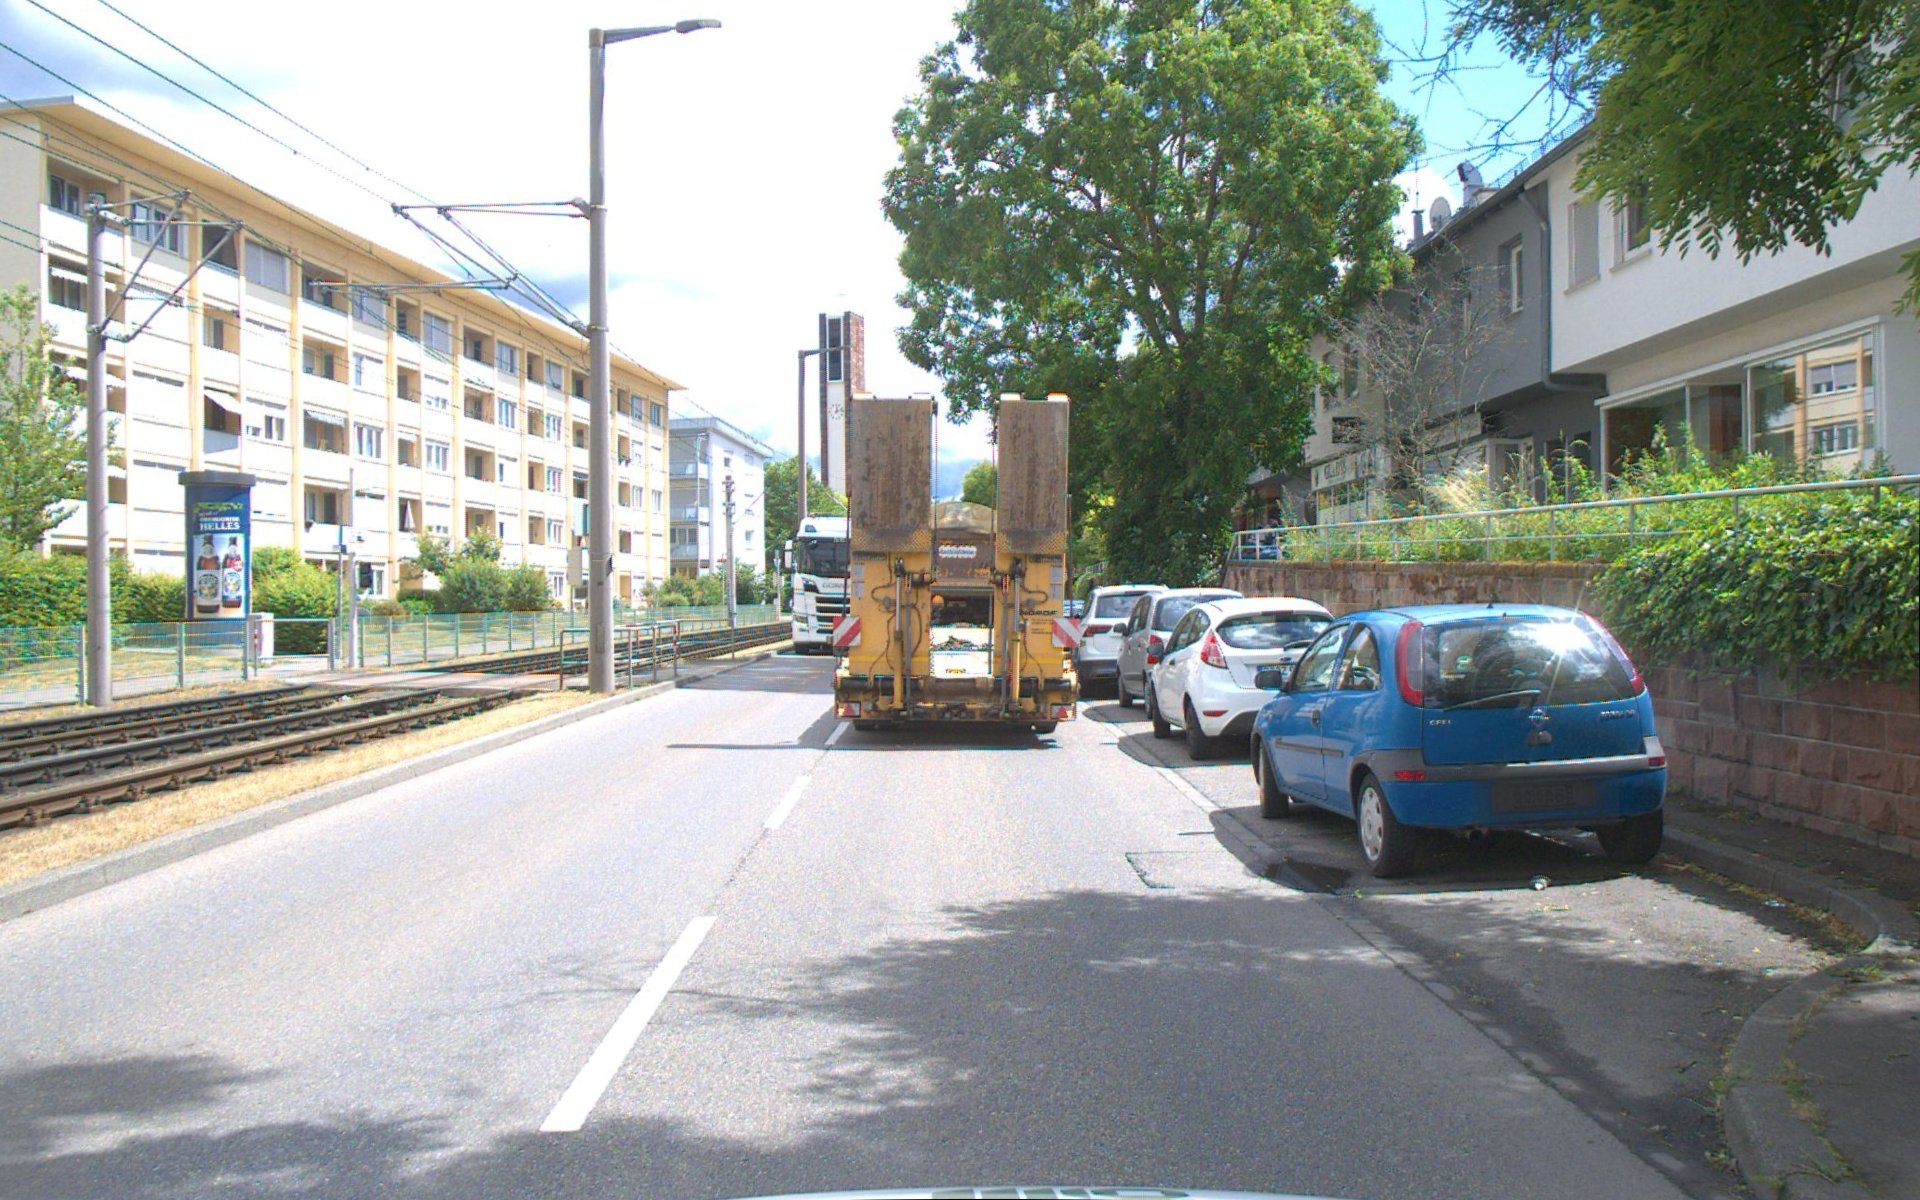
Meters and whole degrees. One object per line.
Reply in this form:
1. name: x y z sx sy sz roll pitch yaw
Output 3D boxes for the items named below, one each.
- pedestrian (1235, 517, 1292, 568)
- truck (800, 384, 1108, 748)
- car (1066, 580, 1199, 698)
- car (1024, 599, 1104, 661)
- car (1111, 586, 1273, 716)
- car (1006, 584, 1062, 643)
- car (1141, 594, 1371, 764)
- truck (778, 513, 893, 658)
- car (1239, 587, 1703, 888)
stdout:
1. pedestrian: 4.920 -0.922 26.835 0.779 0.804 0.705 0 0 -2
2. truck: -0.213 -0.391 22.744 3.061 3.627 12.456 0 0 -2
3. car: 2.691 0.560 26.685 1.786 1.711 4.577 -1 0 2
4. car: 2.603 0.717 42.165 1.798 1.430 4.414 -1 0 1
5. car: 2.998 0.613 21.945 1.549 1.579 3.474 0 0 -2
6. car: 2.647 0.466 59.900 1.762 2.003 4.590 -1 0 0
7. car: 2.889 0.702 16.868 1.611 1.516 3.821 0 0 -1
8. truck: -3.279 -0.399 45.050 2.643 3.643 6.144 1 0 0
9. car: 2.939 0.692 10.323 1.576 1.482 3.674 -2 0 -3
